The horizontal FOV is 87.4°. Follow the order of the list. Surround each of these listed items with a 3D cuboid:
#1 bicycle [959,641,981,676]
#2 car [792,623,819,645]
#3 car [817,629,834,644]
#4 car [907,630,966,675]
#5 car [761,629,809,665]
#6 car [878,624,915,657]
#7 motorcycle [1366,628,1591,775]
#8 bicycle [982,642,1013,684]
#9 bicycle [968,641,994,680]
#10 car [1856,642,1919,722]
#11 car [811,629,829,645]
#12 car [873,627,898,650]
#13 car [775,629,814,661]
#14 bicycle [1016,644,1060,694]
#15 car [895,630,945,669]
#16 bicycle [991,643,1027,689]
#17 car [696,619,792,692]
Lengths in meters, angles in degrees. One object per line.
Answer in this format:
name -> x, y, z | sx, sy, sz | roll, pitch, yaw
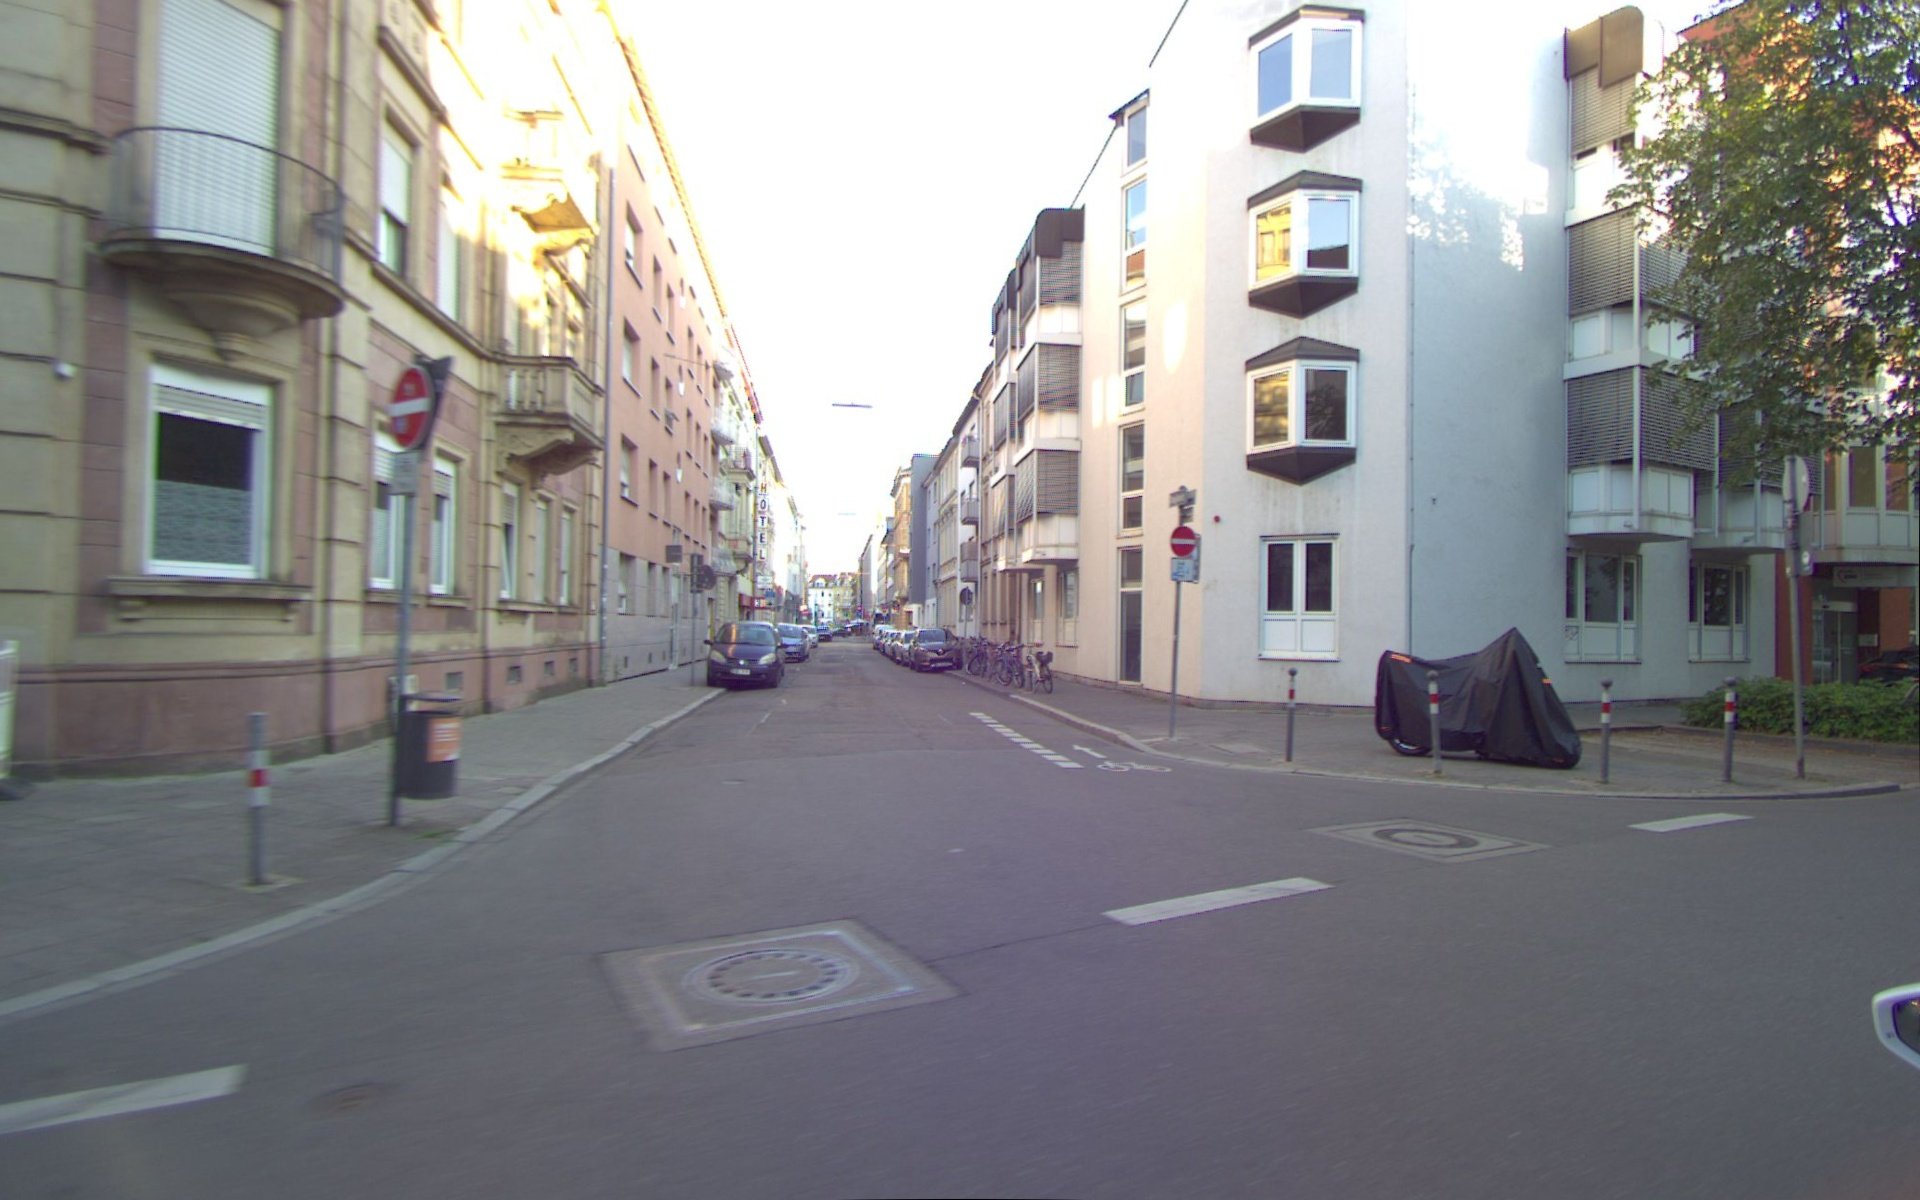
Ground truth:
bicycle -> 0.317, 1.927, 33.459 | 0.604, 1.122, 1.800 | -1, -2, -3
car -> -11.916, 2.614, 77.673 | 1.898, 1.502, 4.141 | 4, -2, -7
car -> -14.841, 4.036, 110.797 | 1.767, 1.530, 4.141 | 4, -2, -7
car -> -0.948, 1.948, 37.975 | 1.767, 1.559, 4.141 | 2, -2, -7
car -> -7.928, 2.101, 45.770 | 1.865, 1.435, 3.685 | 4, -2, -7
car -> -3.576, 2.242, 55.974 | 1.802, 1.705, 3.978 | 2, -1, -7
motorcycle -> 5.980, 1.103, 11.686 | 2.184, 1.501, 0.854 | 0, 0, 43
bicycle -> 1.050, 1.773, 28.601 | 0.628, 1.122, 1.799 | -1, -2, -6
bicycle -> 0.648, 1.849, 31.043 | 0.574, 1.122, 1.799 | -1, -2, -6
car -> 19.846, 1.620, 18.880 | 1.907, 1.506, 4.108 | 2, -1, -30
car -> -14.620, 3.902, 105.256 | 1.767, 1.530, 4.141 | 4, -2, -7
car -> -5.941, 3.010, 79.696 | 1.787, 1.705, 4.141 | 2, -2, -7
car -> -8.730, 2.342, 53.148 | 1.792, 1.508, 4.141 | 4, -2, -7
bicycle -> 1.829, 1.613, 23.869 | 0.573, 1.122, 1.797 | -1, -2, -11
car -> -1.775, 2.099, 43.631 | 1.789, 1.532, 4.141 | 2, -1, -7
bicycle -> 1.246, 1.685, 25.941 | 0.491, 1.122, 1.797 | -1, -2, -11
car -> -5.419, 1.367, 25.688 | 1.963, 1.612, 4.141 | 4, -2, -7
